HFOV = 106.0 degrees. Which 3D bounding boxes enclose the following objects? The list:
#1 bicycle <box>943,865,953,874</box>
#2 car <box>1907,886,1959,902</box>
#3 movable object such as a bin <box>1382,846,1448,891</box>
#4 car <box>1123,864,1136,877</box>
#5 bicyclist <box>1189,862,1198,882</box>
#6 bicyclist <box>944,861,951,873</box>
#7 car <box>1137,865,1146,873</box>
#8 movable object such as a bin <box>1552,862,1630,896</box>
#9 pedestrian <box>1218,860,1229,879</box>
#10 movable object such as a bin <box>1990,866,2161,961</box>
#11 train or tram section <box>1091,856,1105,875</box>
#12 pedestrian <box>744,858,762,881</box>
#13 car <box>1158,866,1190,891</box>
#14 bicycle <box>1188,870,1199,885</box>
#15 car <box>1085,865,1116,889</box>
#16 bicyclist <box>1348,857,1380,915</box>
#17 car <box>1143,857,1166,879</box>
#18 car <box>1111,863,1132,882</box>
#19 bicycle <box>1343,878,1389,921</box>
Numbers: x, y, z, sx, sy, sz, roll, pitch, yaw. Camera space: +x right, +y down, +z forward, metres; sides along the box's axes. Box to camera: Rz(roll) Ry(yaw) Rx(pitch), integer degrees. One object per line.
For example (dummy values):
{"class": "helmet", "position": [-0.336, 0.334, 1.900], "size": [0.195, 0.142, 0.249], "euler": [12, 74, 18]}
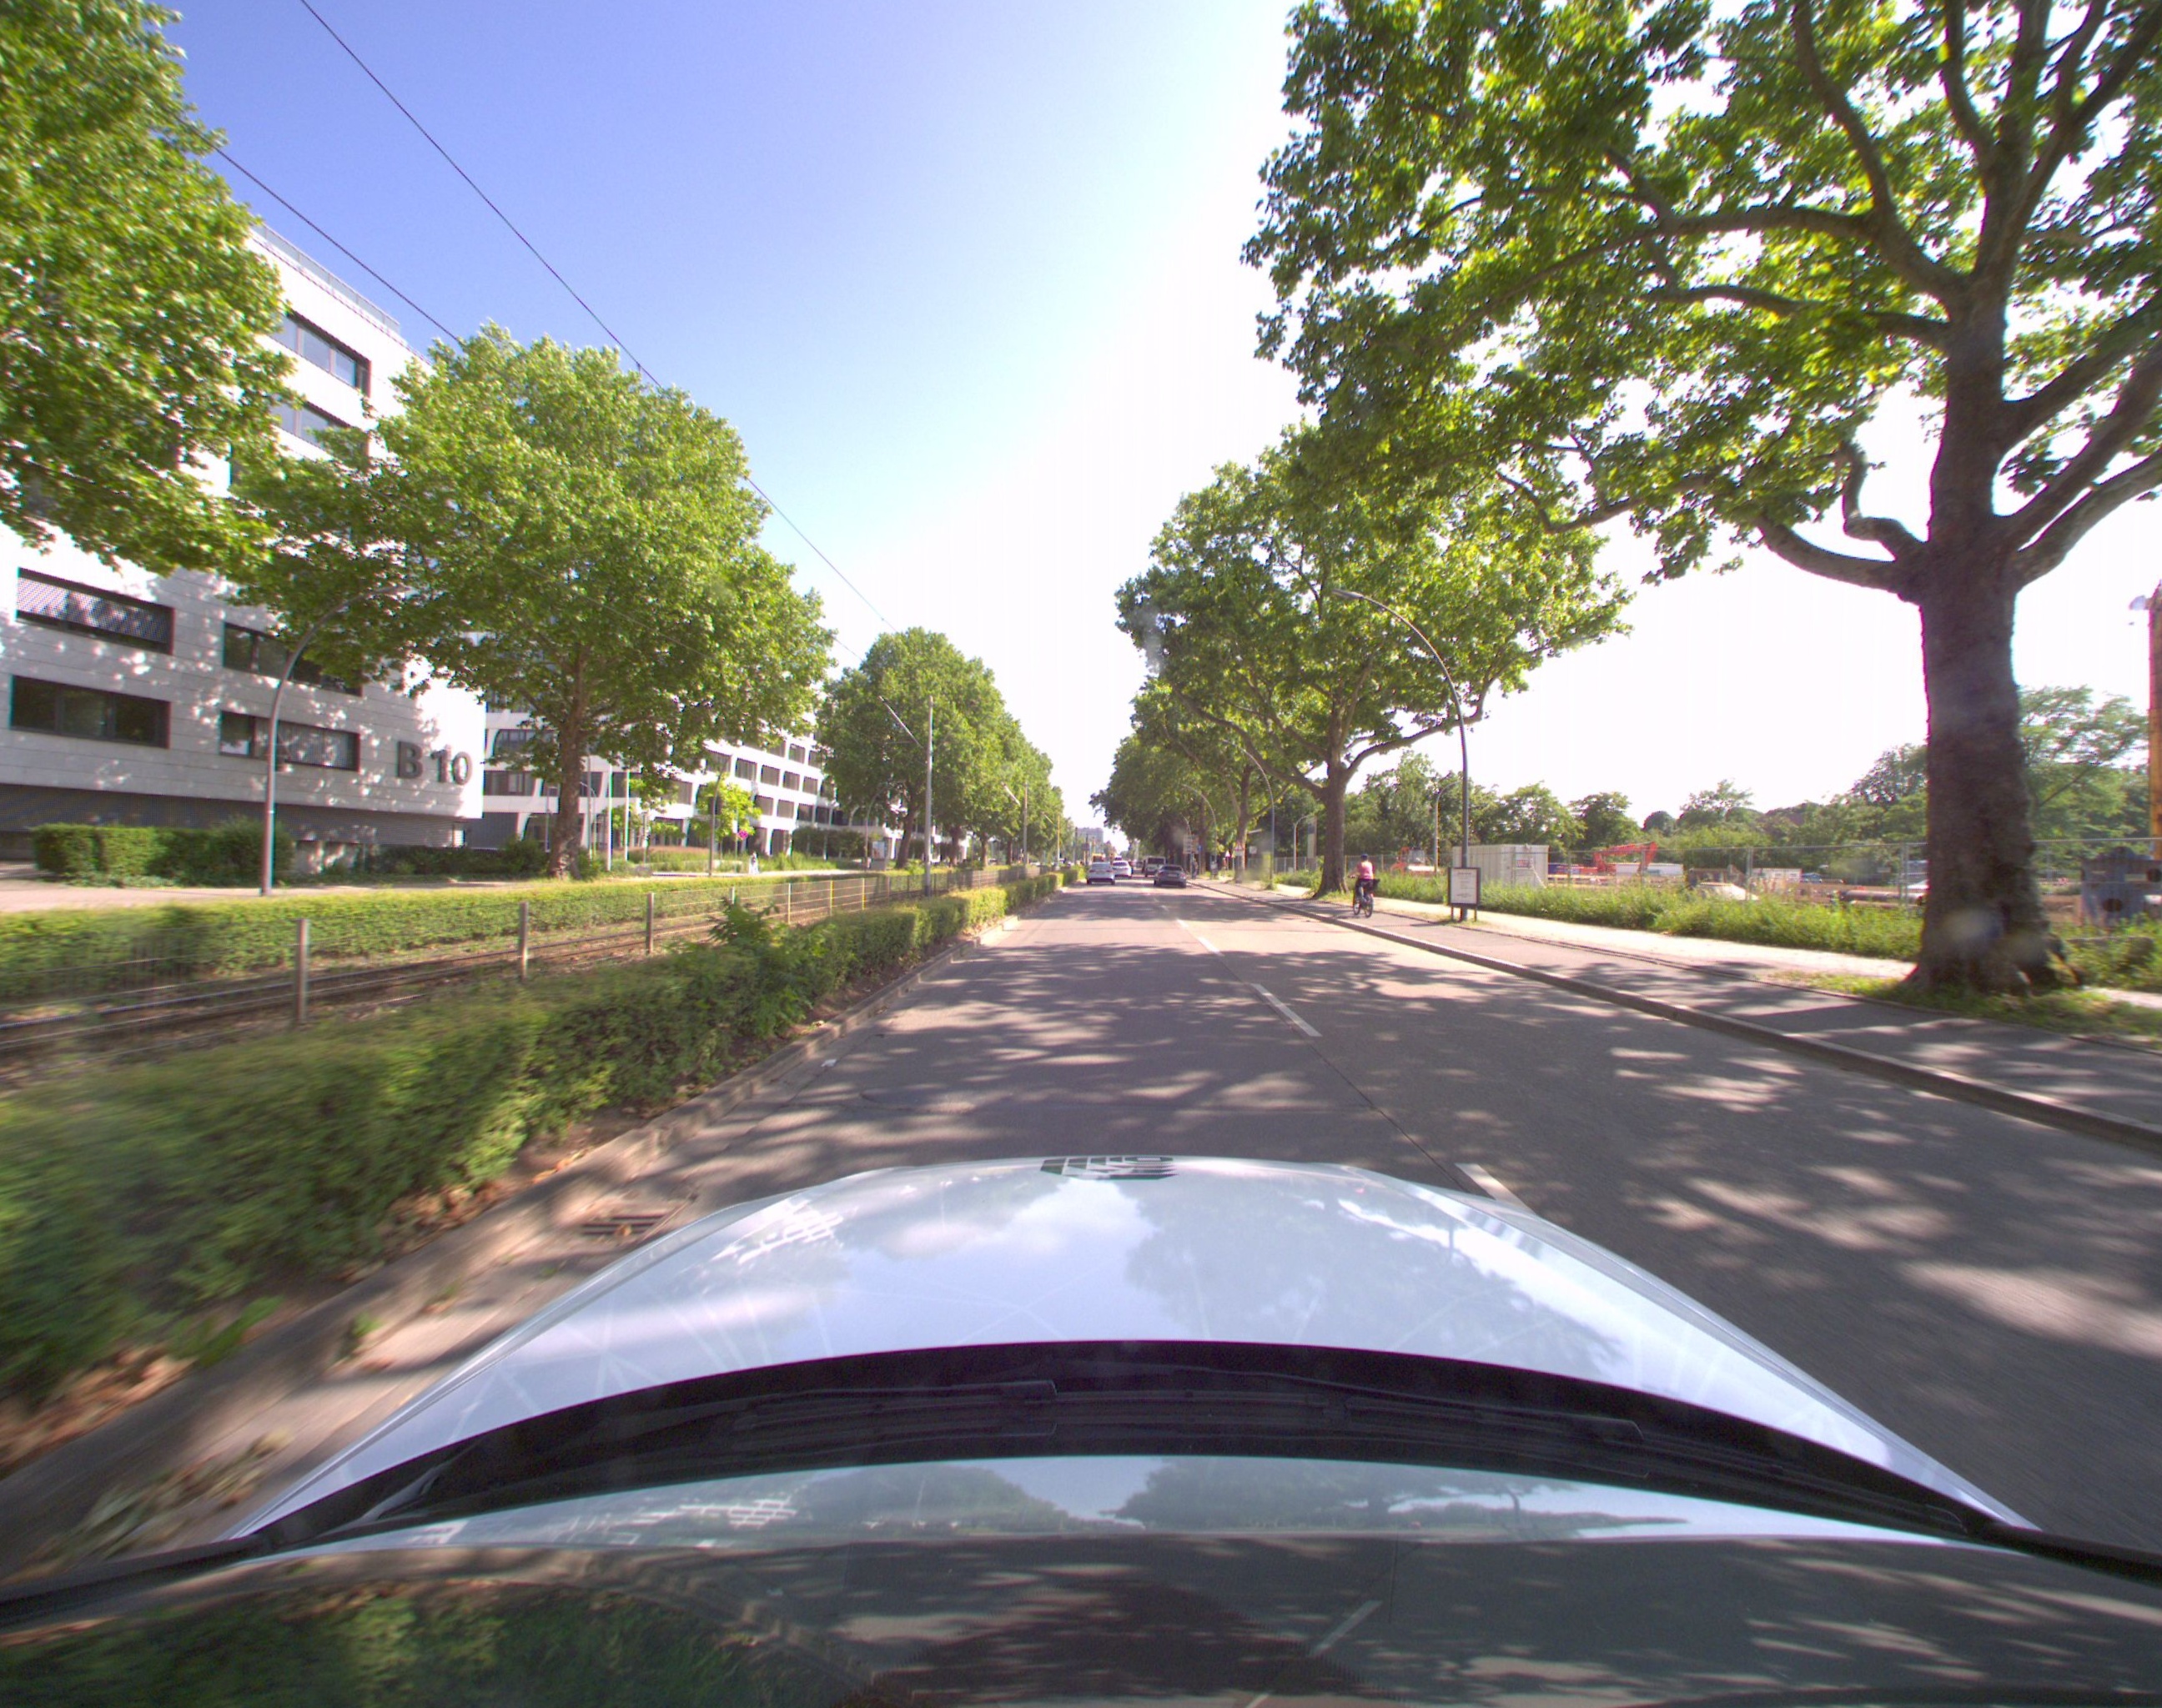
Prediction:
{"class": "bicycle", "position": [-16.308, 1.900, 99.738], "size": [0.661, 1.124, 2.032], "euler": [1, -1, 4]}
{"class": "car", "position": [75.474, 3.556, 72.158], "size": [3.097, 1.253, 1.454], "euler": [1, -1, 3]}
{"class": "movable object such as a bin", "position": [24.213, 1.036, 59.308], "size": [2.361, 3.072, 5.985], "euler": [1, -1, 0]}
{"class": "car", "position": [6.457, 2.141, 107.762], "size": [1.722, 1.605, 3.888], "euler": [1, -1, 4]}
{"class": "bicyclist", "position": [9.673, 1.533, 69.846], "size": [0.632, 1.648, 0.980], "euler": [-1, 0, 3]}
{"class": "bicyclist", "position": [-16.311, 1.592, 99.745], "size": [0.651, 1.535, 0.641], "euler": [1, -1, 4]}
{"class": "car", "position": [15.389, 3.742, 206.672], "size": [2.063, 1.999, 4.062], "euler": [1, -1, 4]}
{"class": "movable object such as a bin", "position": [47.050, 2.310, 75.302], "size": [5.154, 2.976, 3.297], "euler": [1, -1, 3]}
{"class": "pedestrian", "position": [14.305, 1.559, 81.874], "size": [0.935, 1.892, 1.152], "euler": [1, -1, 3]}
{"class": "movable object such as a bin", "position": [62.893, 3.526, 51.463], "size": [11.841, 5.177, 6.674], "euler": [2, -1, -45]}
{"class": "train or tram section", "position": [3.710, 2.498, 180.894], "size": [2.605, 4.015, 7.757], "euler": [1, -1, 4]}
{"class": "pedestrian", "position": [-22.700, 1.076, 56.386], "size": [0.717, 1.588, 1.016], "euler": [1, -1, 4]}
{"class": "car", "position": [5.726, 1.493, 50.730], "size": [1.775, 1.420, 4.004], "euler": [1, -1, 4]}
{"class": "bicycle", "position": [9.677, 1.976, 69.854], "size": [0.711, 1.148, 2.180], "euler": [-2, 1, 3]}
{"class": "car", "position": [1.273, 1.453, 52.006], "size": [1.777, 1.421, 3.888], "euler": [1, -1, 4]}
{"class": "bicyclist", "position": [7.932, 0.890, 22.838], "size": [0.617, 1.600, 0.732], "euler": [-1, -1, 1]}
{"class": "car", "position": [7.781, 1.512, 86.681], "size": [2.220, 2.212, 4.165], "euler": [1, -1, 4]}
{"class": "car", "position": [3.586, 1.610, 71.247], "size": [1.722, 1.605, 3.888], "euler": [1, -1, 4]}
{"class": "bicycle", "position": [7.916, 1.236, 22.699], "size": [0.649, 1.129, 1.947], "euler": [0, -1, 3]}
